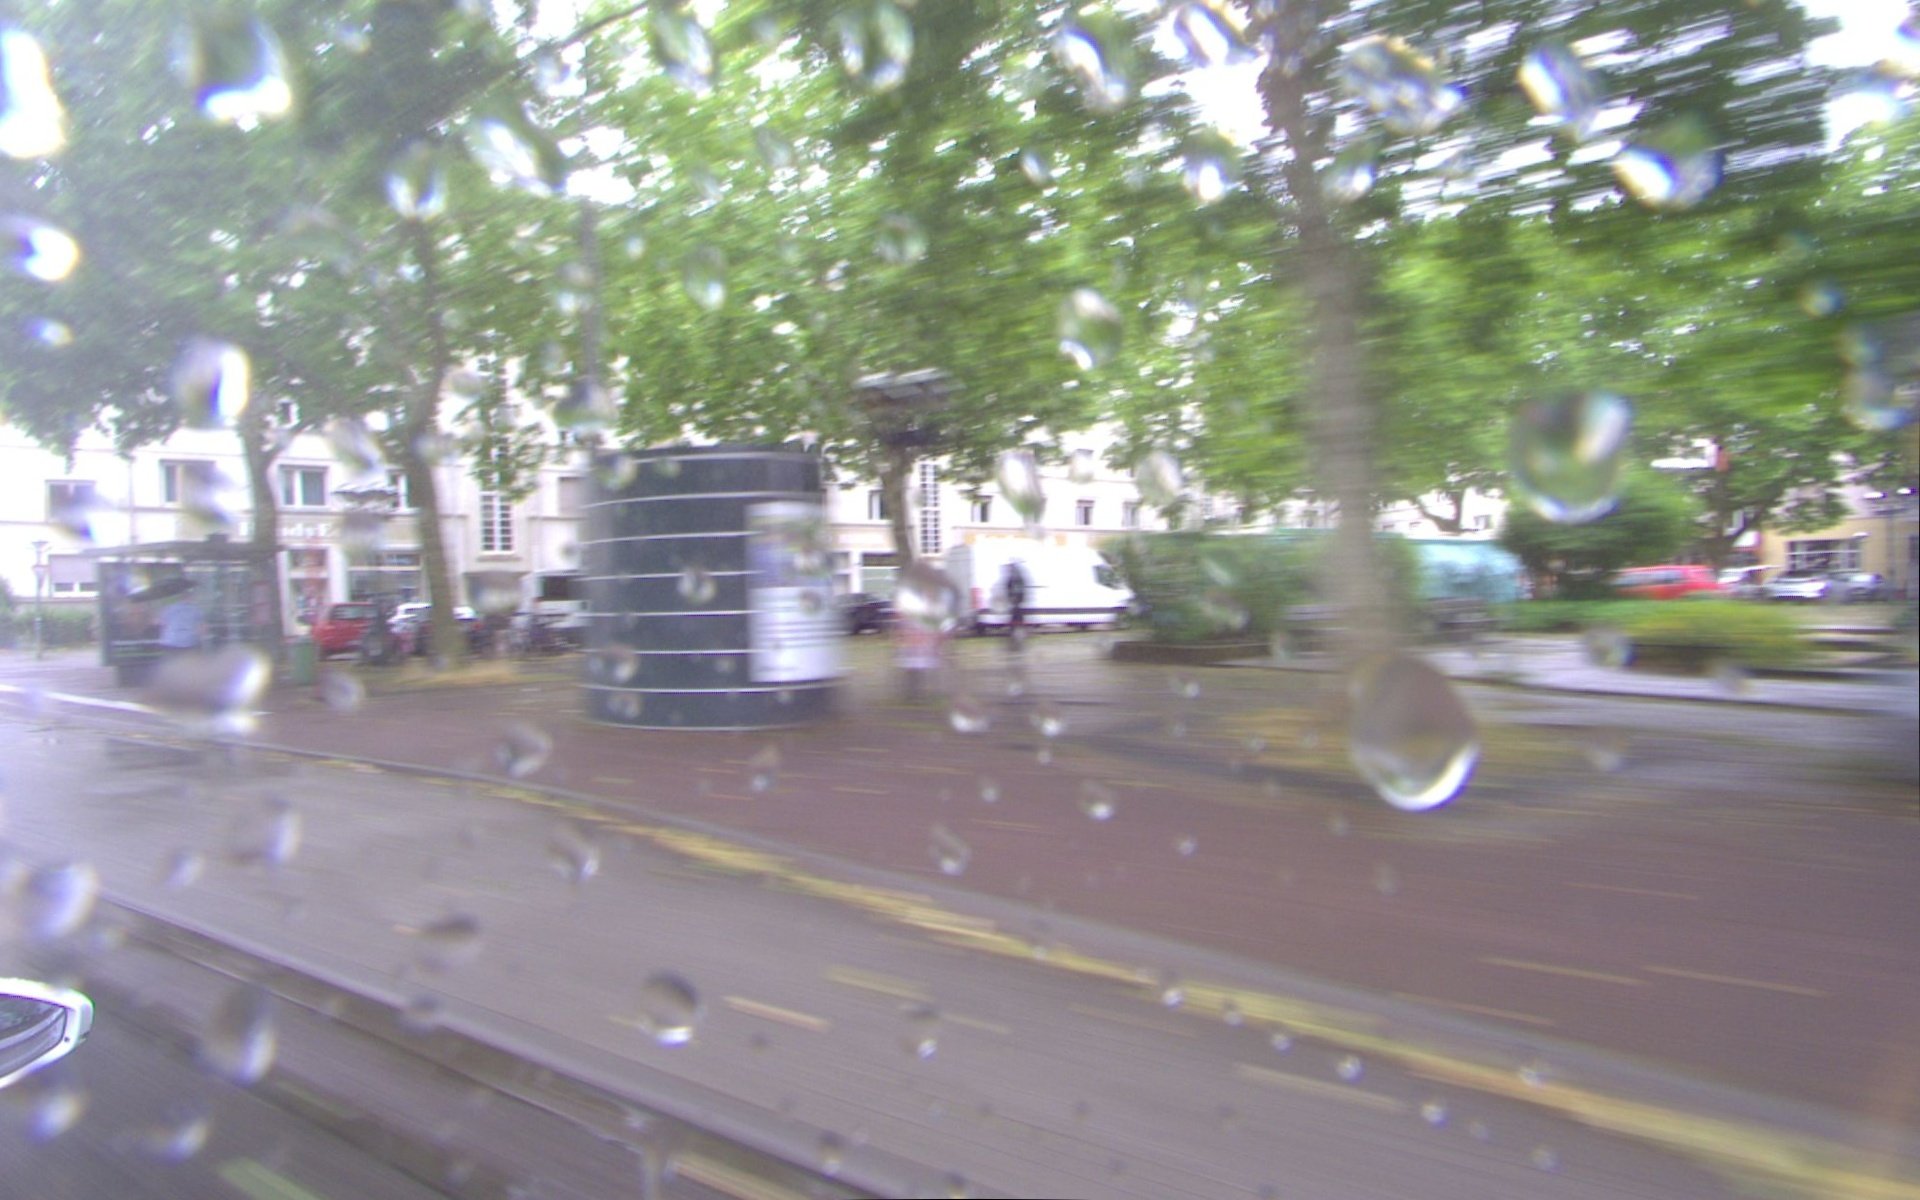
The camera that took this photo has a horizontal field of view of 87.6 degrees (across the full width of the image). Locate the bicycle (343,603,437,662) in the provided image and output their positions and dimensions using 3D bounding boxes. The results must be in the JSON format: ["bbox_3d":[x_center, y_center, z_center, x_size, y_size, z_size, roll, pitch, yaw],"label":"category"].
[{"bbox_3d":[-13.332,0.740,23.430,1.817,1.275,0.705,-2,2,-36],"label":"bicycle"}]

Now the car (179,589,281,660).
[{"bbox_3d":[-17.963,0.632,24.577,1.675,1.571,3.493,-2,-1,-41],"label":"car"}]

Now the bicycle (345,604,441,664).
[{"bbox_3d":[-12.876,0.746,22.781,1.817,1.275,0.521,-2,2,-36],"label":"bicycle"}]

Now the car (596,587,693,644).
[{"bbox_3d":[-9.583,0.468,30.254,1.664,1.596,3.709,-2,0,-36],"label":"car"}]

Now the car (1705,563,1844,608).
[{"bbox_3d":[32.262,-0.554,39.762,1.976,1.640,3.969,-2,1,-38],"label":"car"}]

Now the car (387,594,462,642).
[{"bbox_3d":[-19.727,0.659,36.803,1.974,1.649,4.600,1,-1,-34],"label":"car"}]

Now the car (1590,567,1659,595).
[{"bbox_3d":[36.144,-1.037,54.427,3.944,1.472,1.667,-2,1,-32],"label":"car"}]

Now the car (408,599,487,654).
[{"bbox_3d":[-13.891,0.728,27.074,1.566,1.353,3.244,-2,-1,-33],"label":"car"}]

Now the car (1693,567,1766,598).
[{"bbox_3d":[38.545,-0.876,50.137,3.944,1.472,1.667,-2,1,-32],"label":"car"}]

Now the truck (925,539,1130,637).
[{"bbox_3d":[2.173,-0.395,30.891,6.319,2.735,2.252,-2,1,-36],"label":"truck"}]

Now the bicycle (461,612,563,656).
[{"bbox_3d":[-11.127,0.837,24.917,2.224,0.981,0.581,-2,1,-34],"label":"bicycle"}]

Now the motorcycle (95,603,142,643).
[{"bbox_3d":[-31.296,0.832,37.282,0.866,1.411,2.987,-2,1,-32],"label":"motorcycle"}]

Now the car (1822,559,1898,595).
[{"bbox_3d":[41.258,-1.054,45.877,3.845,1.573,1.816,-2,1,-36],"label":"car"}]

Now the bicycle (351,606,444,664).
[{"bbox_3d":[-12.500,0.754,22.281,1.744,1.211,0.495,-2,2,-36],"label":"bicycle"}]

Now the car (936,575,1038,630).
[{"bbox_3d":[0.935,0.122,36.970,1.814,1.861,3.979,-2,-1,-32],"label":"car"}]

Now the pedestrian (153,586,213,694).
[{"bbox_3d":[-12.665,0.633,16.317,0.710,1.691,0.659,-2,1,-40],"label":"pedestrian"}]

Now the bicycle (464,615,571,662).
[{"bbox_3d":[-10.499,0.896,23.825,2.258,0.996,0.542,-2,1,-34],"label":"bicycle"}]

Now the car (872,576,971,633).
[{"bbox_3d":[-1.444,0.183,36.203,1.814,1.861,3.979,-2,-1,-32],"label":"car"}]

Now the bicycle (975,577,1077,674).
[{"bbox_3d":[1.000,0.354,16.110,0.738,1.396,2.701,-2,2,-16],"label":"bicycle"}]

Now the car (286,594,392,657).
[{"bbox_3d":[-16.081,0.679,25.867,3.355,1.475,1.515,-4,-1,44],"label":"car"}]

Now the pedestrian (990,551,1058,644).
[{"bbox_3d":[1.014,-0.044,16.009,0.733,1.417,1.044,-2,2,-17],"label":"pedestrian"}]

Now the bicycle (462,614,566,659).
[{"bbox_3d":[-10.825,0.874,24.359,2.229,0.981,0.531,-2,1,-34],"label":"bicycle"}]

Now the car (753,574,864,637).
[{"bbox_3d":[-4.973,0.209,32.428,2.132,1.861,3.978,-2,-1,-32],"label":"car"}]

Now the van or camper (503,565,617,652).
[{"bbox_3d":[-11.747,0.211,29.149,2.369,2.261,5.402,-2,1,-29],"label":"van or camper"}]

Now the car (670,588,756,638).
[{"bbox_3d":[-7.970,0.449,32.089,1.661,1.450,3.718,-2,-1,-31],"label":"car"}]

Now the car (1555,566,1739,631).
[{"bbox_3d":[17.600,-0.044,25.761,1.650,1.542,3.645,-2,1,-42],"label":"car"}]
